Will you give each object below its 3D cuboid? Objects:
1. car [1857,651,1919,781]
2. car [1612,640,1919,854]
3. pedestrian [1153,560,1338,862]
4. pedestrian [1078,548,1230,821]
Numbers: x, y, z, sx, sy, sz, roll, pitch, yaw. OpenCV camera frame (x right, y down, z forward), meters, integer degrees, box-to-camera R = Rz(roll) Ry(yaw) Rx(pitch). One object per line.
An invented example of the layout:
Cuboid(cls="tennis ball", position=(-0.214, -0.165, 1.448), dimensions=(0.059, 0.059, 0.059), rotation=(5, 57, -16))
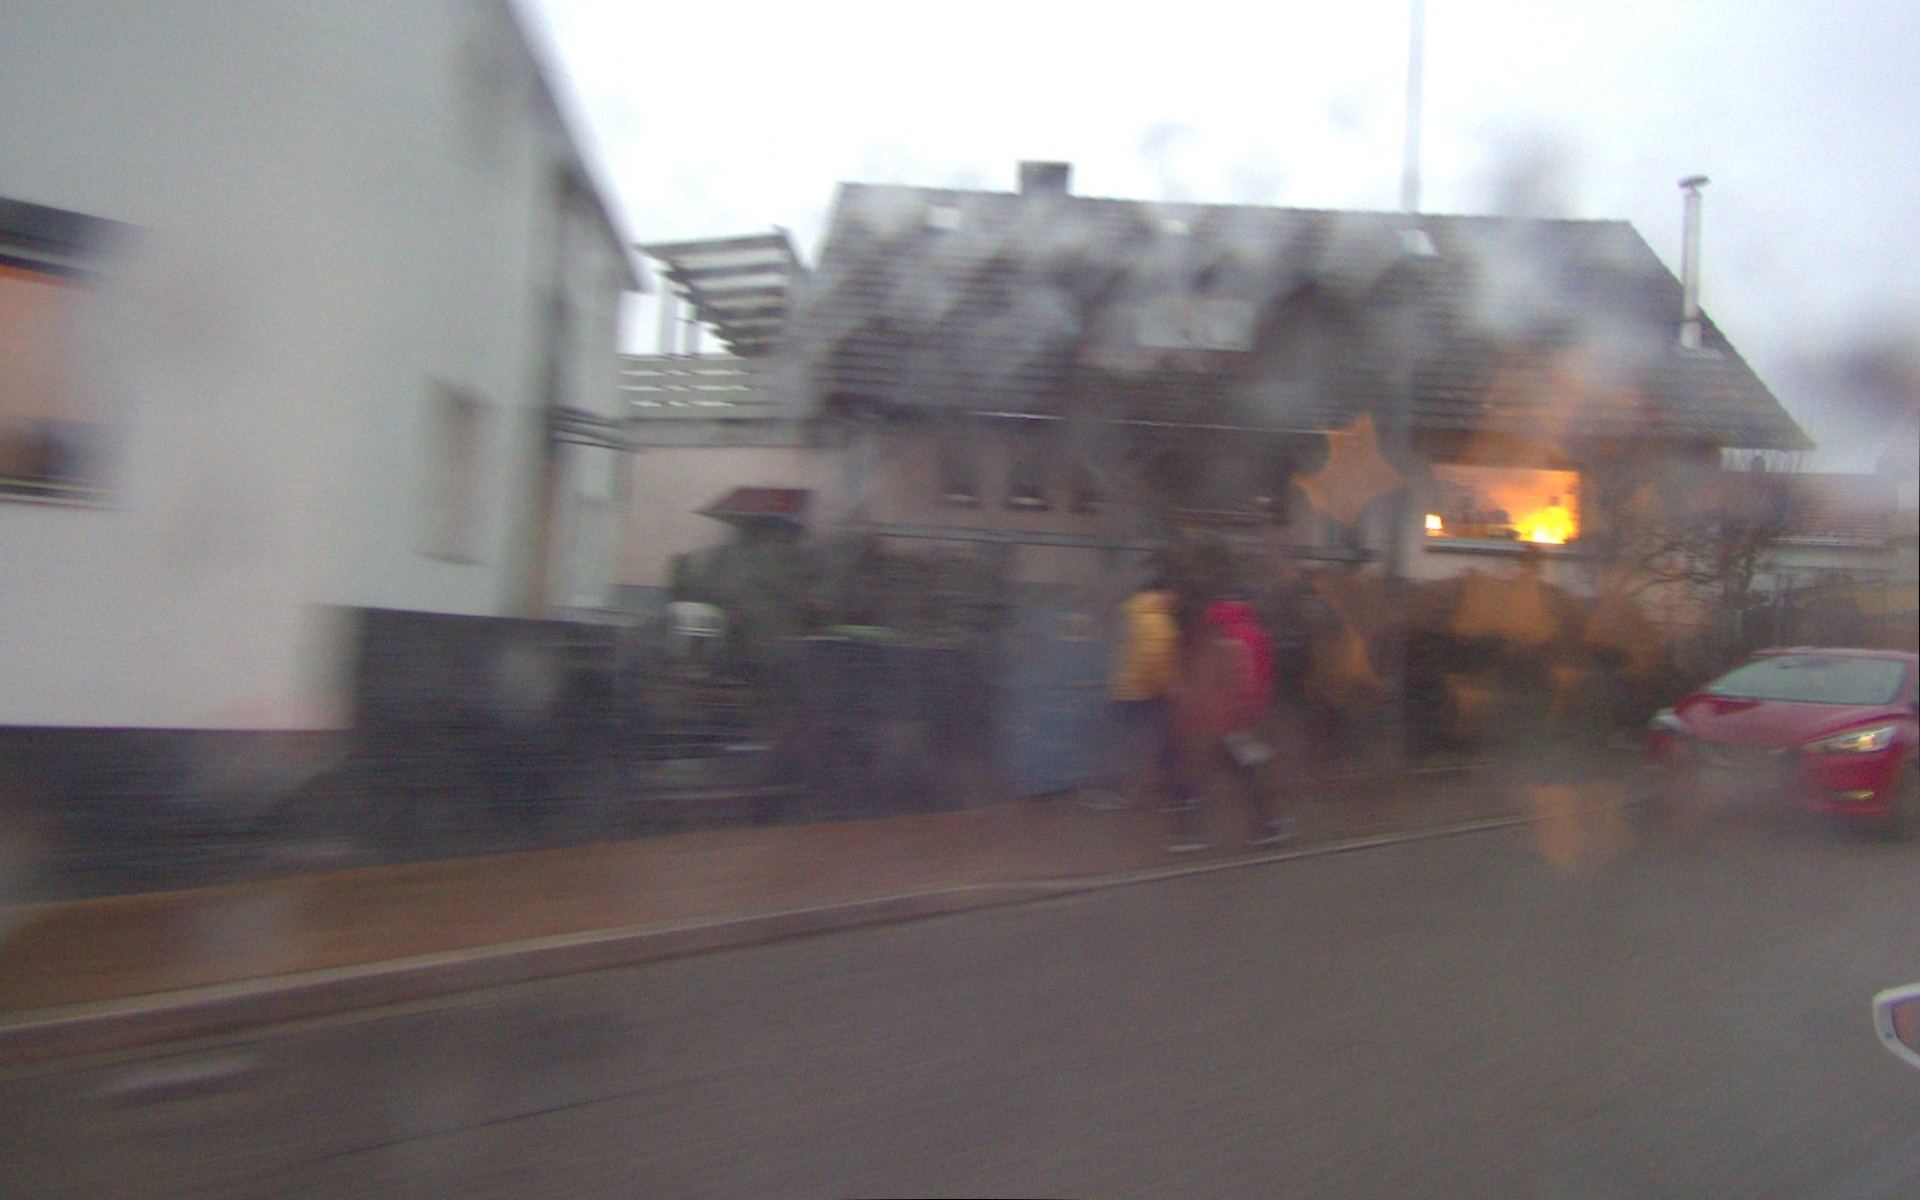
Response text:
Cuboid(cls="car", position=(12.419, 1.344, 11.824), dimensions=(4.101, 1.407, 1.739), rotation=(2, -1, -32))
Cuboid(cls="car", position=(7.814, 1.137, 8.984), dimensions=(4.023, 1.460, 1.813), rotation=(2, -1, -32))
Cuboid(cls="pedestrian", position=(1.837, 0.670, 6.498), dimensions=(0.803, 1.803, 0.702), rotation=(3, 0, -32))
Cuboid(cls="pedestrian", position=(1.435, 0.595, 7.436), dimensions=(0.803, 1.894, 0.594), rotation=(3, 1, -32))
